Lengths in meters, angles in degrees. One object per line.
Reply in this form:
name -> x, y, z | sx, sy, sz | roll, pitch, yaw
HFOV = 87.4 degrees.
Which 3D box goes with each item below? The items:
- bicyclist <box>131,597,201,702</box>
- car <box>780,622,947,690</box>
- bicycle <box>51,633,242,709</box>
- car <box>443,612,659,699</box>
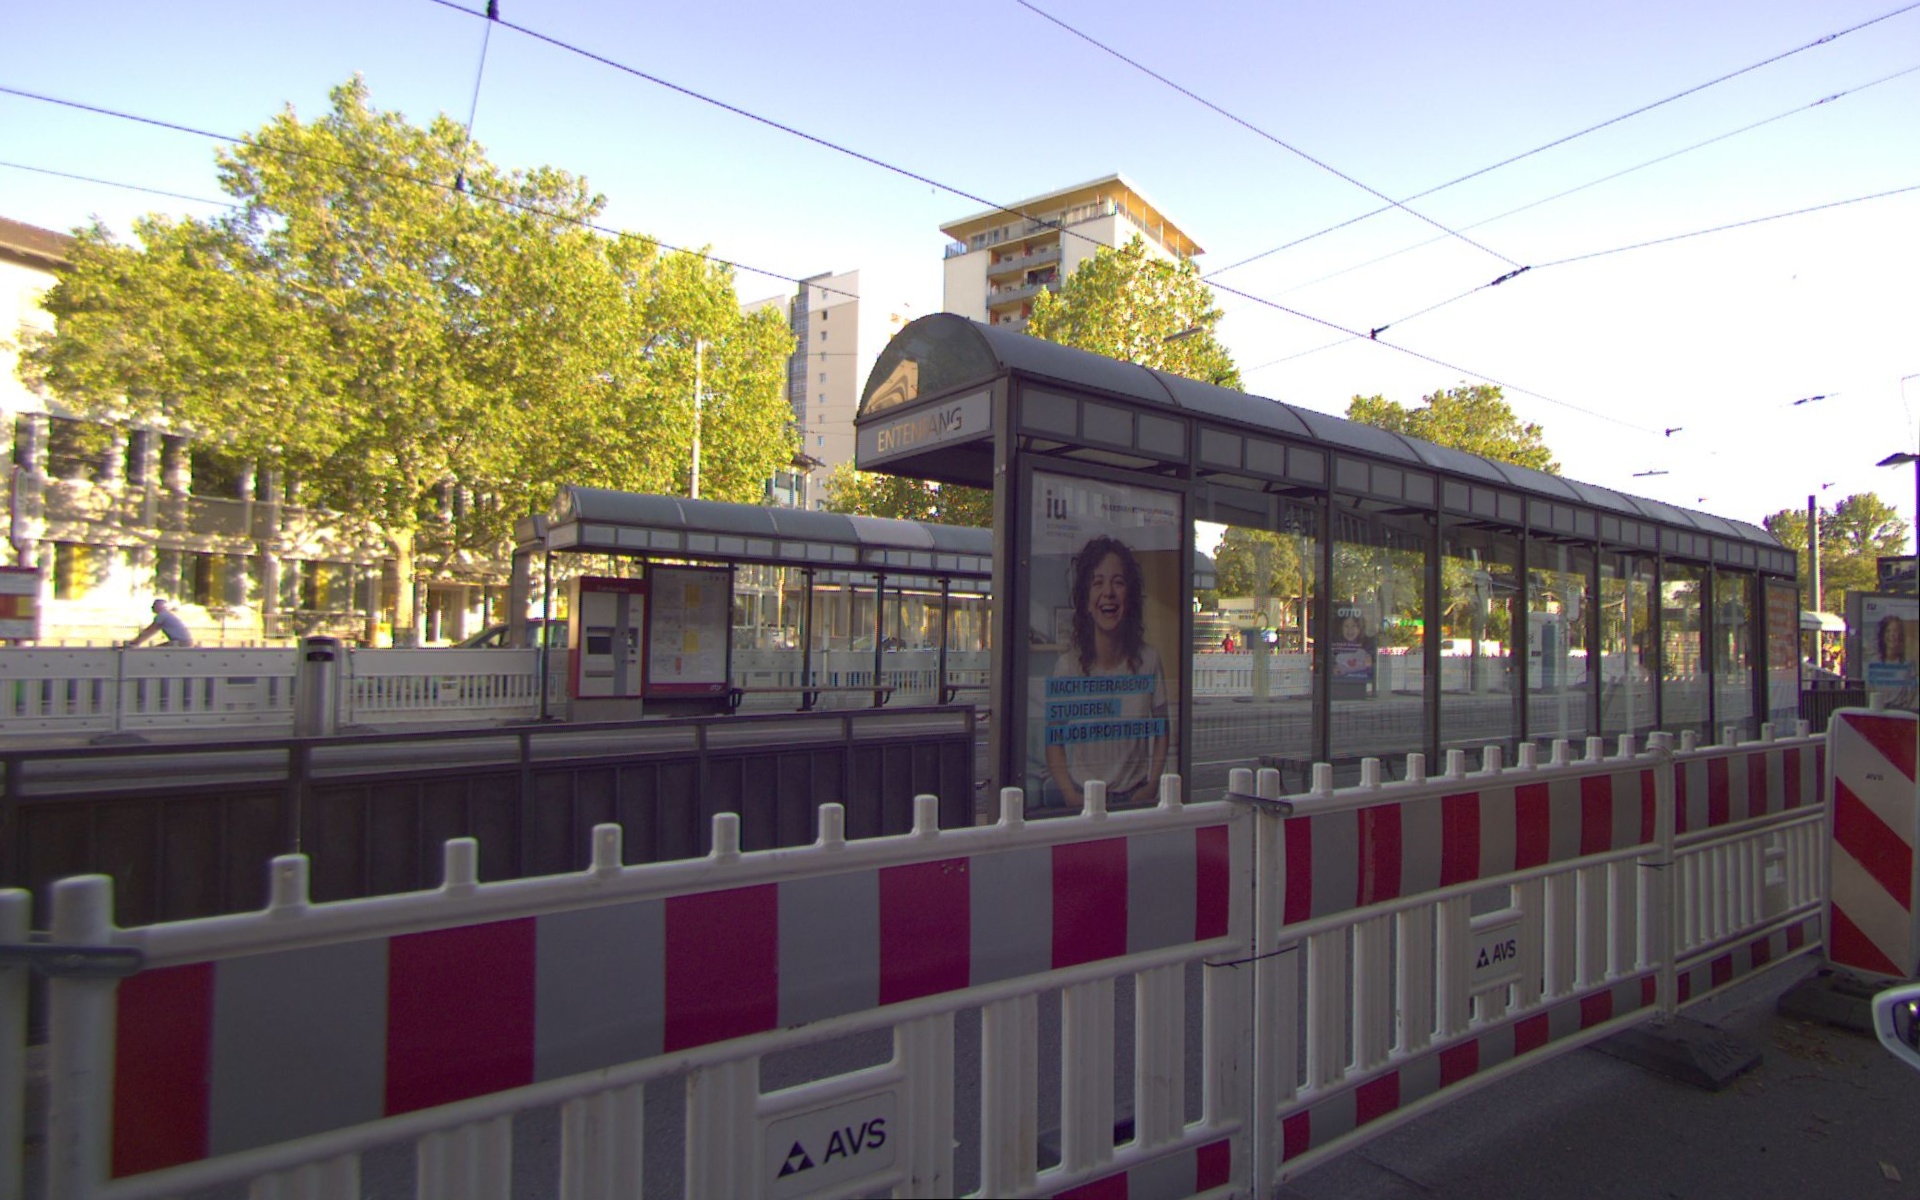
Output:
bicyclist -> -13.687, 0.845, 17.337 | 0.826, 1.750, 0.729 | 2, -2, -34
car -> -2.514, 1.470, 26.559 | 3.961, 1.683, 1.901 | 3, -2, -35
bicycle -> -13.826, 1.204, 17.191 | 2.456, 1.223, 0.685 | 3, -2, -35
car -> -8.730, 1.175, 21.516 | 3.959, 1.683, 1.902 | 3, -2, -34
